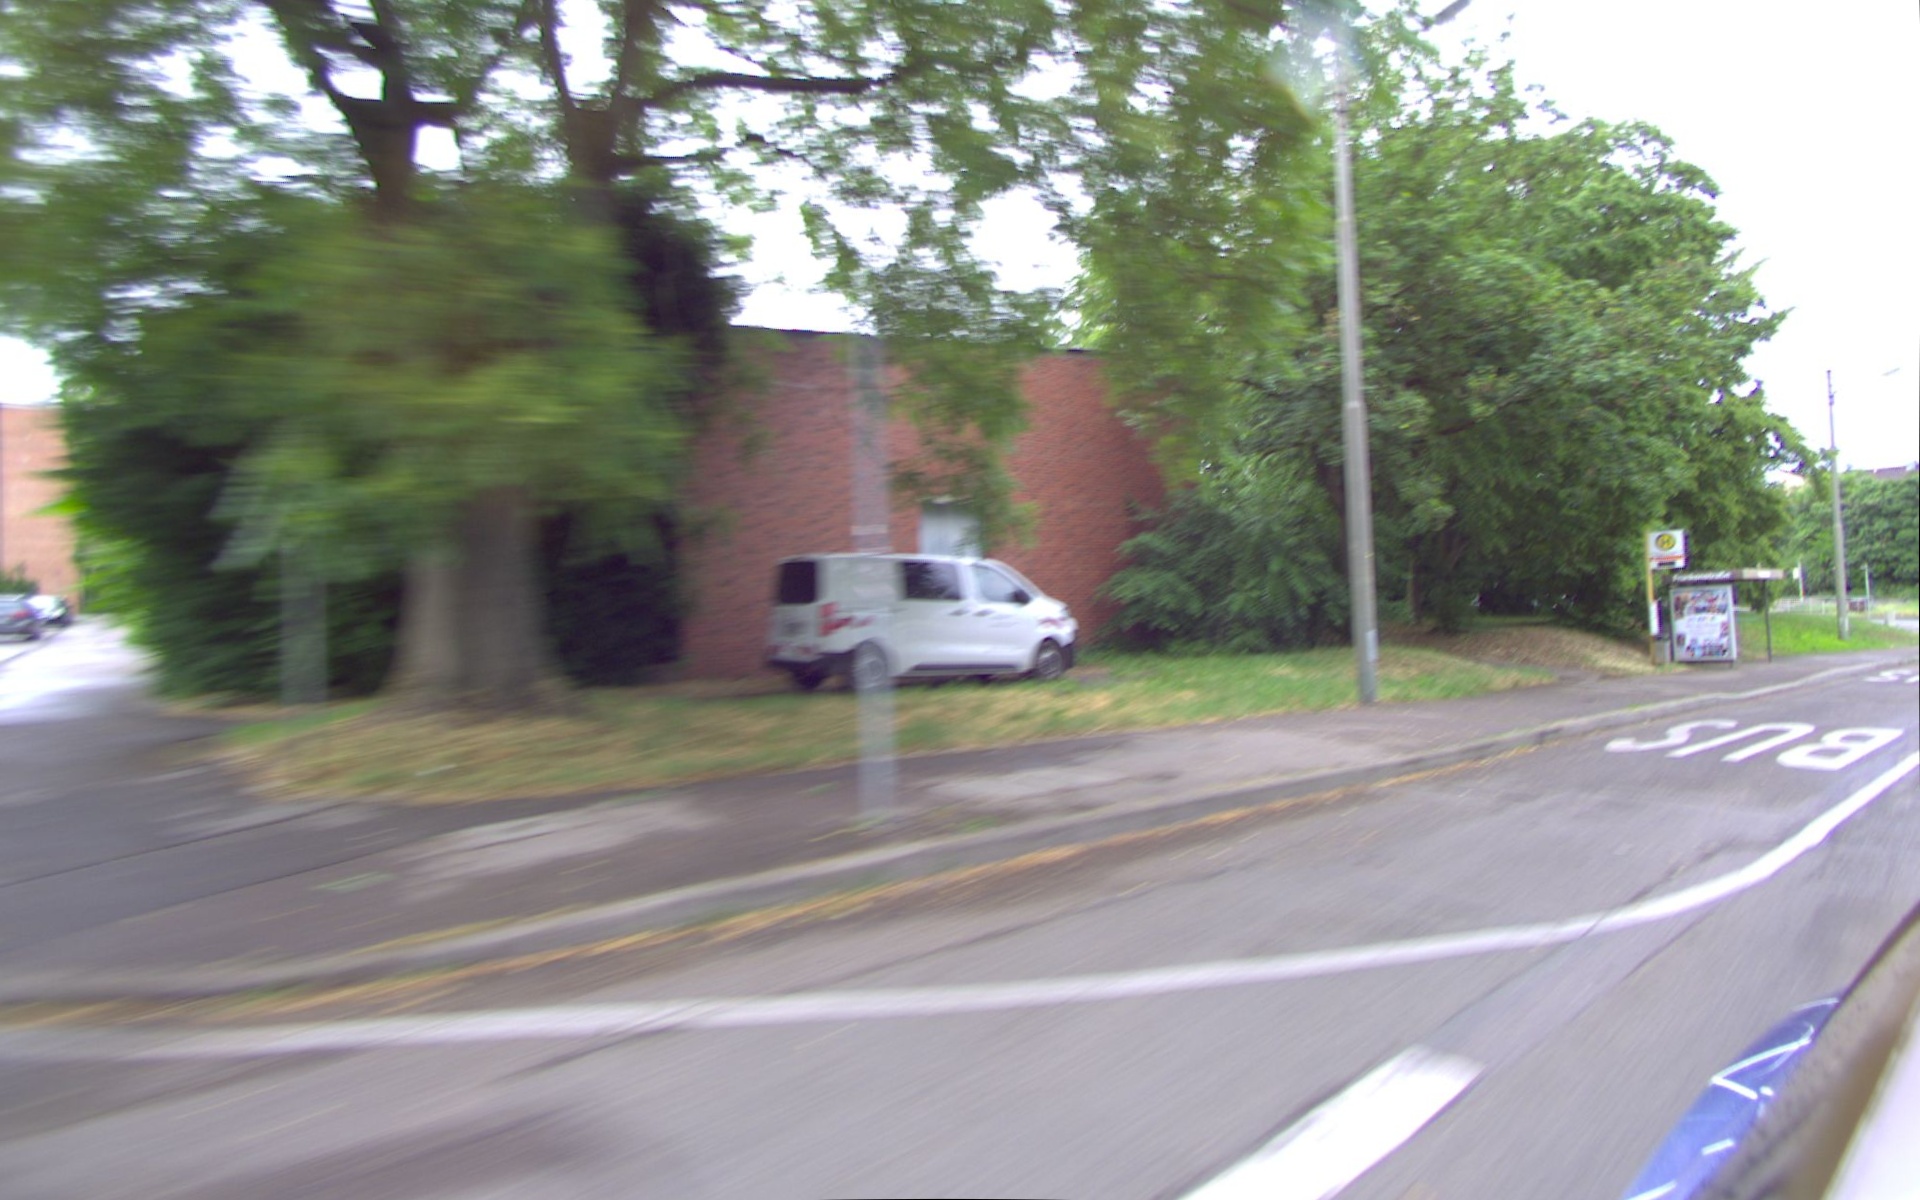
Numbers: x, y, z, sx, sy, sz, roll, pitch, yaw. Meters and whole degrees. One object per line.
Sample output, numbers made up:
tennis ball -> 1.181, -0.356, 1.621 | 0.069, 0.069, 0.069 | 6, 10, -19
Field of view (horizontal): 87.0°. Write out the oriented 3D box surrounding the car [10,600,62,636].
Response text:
car -> -42.712, 0.809, 46.808 | 1.675, 1.539, 3.991 | -2, 1, -42

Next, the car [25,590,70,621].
car -> -48.052, 0.261, 53.303 | 1.675, 1.539, 3.991 | -2, 1, -42

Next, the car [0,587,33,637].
car -> -31.322, 0.392, 32.941 | 1.675, 1.539, 3.991 | -2, 1, -42

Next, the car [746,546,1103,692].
car -> -0.407, 0.301, 15.002 | 5.052, 1.829, 1.998 | 0, -3, -38
